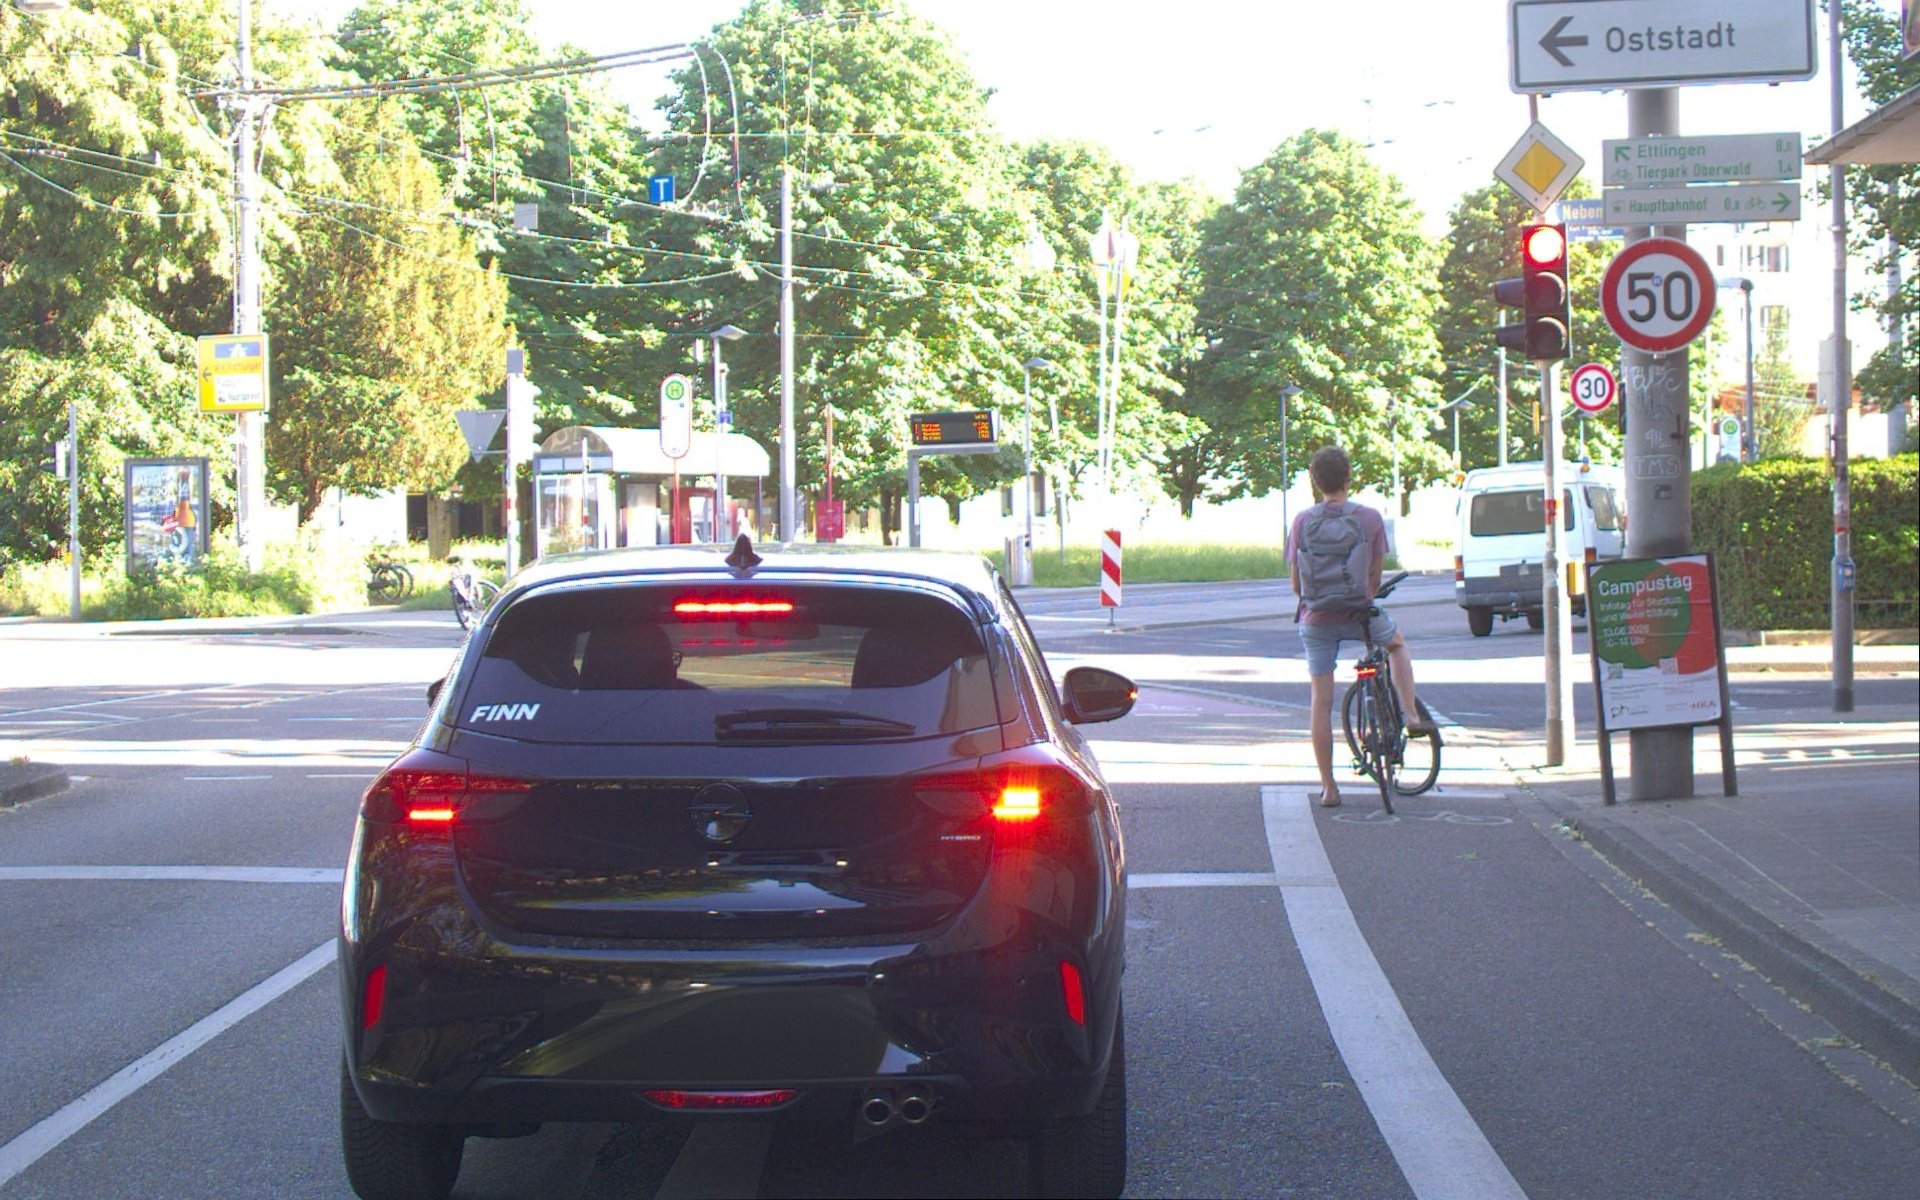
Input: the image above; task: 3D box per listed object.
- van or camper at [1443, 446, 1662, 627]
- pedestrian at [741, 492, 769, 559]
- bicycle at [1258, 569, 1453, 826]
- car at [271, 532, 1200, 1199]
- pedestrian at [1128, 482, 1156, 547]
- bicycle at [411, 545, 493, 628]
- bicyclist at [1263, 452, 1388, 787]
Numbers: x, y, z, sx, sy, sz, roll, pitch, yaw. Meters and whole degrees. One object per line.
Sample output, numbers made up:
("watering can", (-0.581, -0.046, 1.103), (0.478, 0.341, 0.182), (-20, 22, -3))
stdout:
("van or camper", (8.019, -0.836, 46.240), (2.031, 2.302, 4.535), (1, 1, 21))
("pedestrian", (-5.750, -2.093, 96.353), (0.737, 1.865, 0.662), (1, 0, -6))
("bicycle", (2.095, 0.472, 17.981), (0.753, 1.231, 2.014), (0, 1, 14))
("car", (-0.468, 0.568, 8.815), (1.840, 1.457, 3.984), (0, 1, -1))
("pedestrian", (5.254, -2.471, 99.358), (0.604, 1.865, 0.519), (0, 1, -43))
("bicycle", (-6.847, -0.194, 46.429), (0.796, 1.061, 2.185), (0, 1, -1))
("bicyclist", (1.881, 0.092, 17.660), (0.534, 1.686, 0.567), (0, 1, 17))
